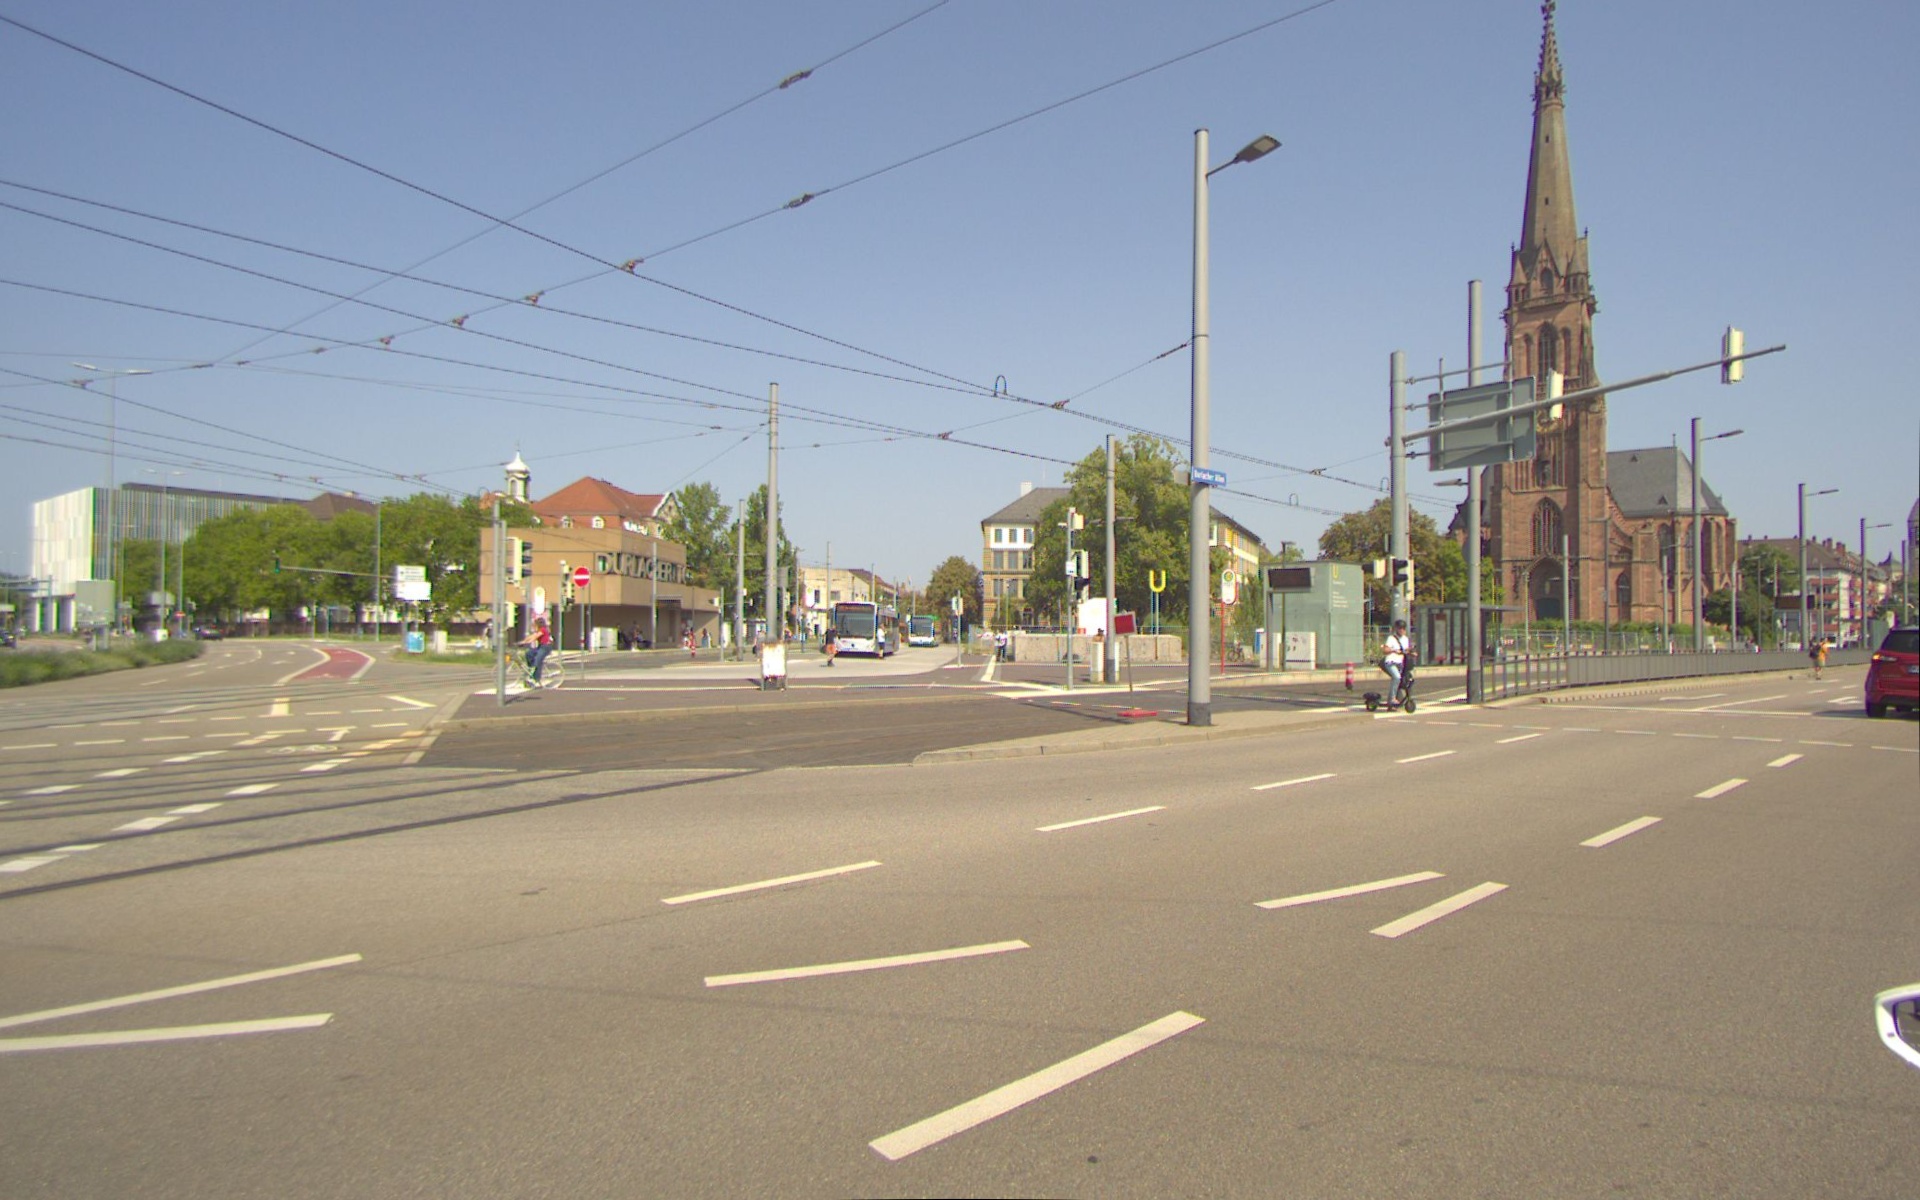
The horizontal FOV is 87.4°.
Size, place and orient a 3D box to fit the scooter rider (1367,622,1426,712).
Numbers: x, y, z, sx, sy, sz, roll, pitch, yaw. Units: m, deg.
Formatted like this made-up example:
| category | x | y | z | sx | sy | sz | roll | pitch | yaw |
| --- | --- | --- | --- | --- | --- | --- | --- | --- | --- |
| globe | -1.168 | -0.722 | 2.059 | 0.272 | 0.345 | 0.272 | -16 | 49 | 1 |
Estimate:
| category | x | y | z | sx | sy | sz | roll | pitch | yaw |
| --- | --- | --- | --- | --- | --- | --- | --- | --- | --- |
| scooter rider | 8.453 | 1.300 | 19.462 | 0.774 | 1.695 | 0.764 | 2 | -4 | -45 |

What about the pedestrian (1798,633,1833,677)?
| category | x | y | z | sx | sy | sz | roll | pitch | yaw |
| --- | --- | --- | --- | --- | --- | --- | --- | --- | --- |
| pedestrian | 34.973 | 2.246 | 41.054 | 1.056 | 1.774 | 0.758 | 2 | -2 | -29 |

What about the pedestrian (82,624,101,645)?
| category | x | y | z | sx | sy | sz | roll | pitch | yaw |
| --- | --- | --- | --- | --- | --- | --- | --- | --- | --- |
| pedestrian | -73.443 | 2.902 | 84.958 | 0.956 | 1.808 | 1.110 | 1 | -2 | -26 |

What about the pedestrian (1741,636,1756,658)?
| category | x | y | z | sx | sy | sz | roll | pitch | yaw |
| --- | --- | --- | --- | --- | --- | --- | --- | --- | --- |
| pedestrian | 63.276 | 3.745 | 80.564 | 0.715 | 1.774 | 0.822 | 3 | -3 | -40 |

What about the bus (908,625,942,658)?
| category | x | y | z | sx | sy | sz | roll | pitch | yaw |
| --- | --- | --- | --- | --- | --- | --- | --- | --- | --- |
| bus | -3.578 | 4.283 | 105.905 | 2.491 | 3.072 | 12.440 | -1 | -1 | 3 |

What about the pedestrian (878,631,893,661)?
| category | x | y | z | sx | sy | sz | roll | pitch | yaw |
| --- | --- | --- | --- | --- | --- | --- | --- | --- | --- |
| pedestrian | -4.009 | 2.478 | 54.123 | 0.589 | 1.548 | 0.576 | 0 | -3 | 30 |

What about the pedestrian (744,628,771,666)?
| category | x | y | z | sx | sy | sz | roll | pitch | yaw |
| --- | --- | --- | --- | --- | --- | --- | --- | --- | --- |
| pedestrian | -9.748 | 2.255 | 48.353 | 0.951 | 1.803 | 0.777 | 3 | -3 | -39 |

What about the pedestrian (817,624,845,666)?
| category | x | y | z | sx | sy | sz | roll | pitch | yaw |
| --- | --- | --- | --- | --- | --- | --- | --- | --- | --- |
| pedestrian | -5.624 | 1.955 | 43.769 | 0.951 | 1.803 | 0.777 | 3 | -3 | -39 |

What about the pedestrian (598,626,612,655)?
| category | x | y | z | sx | sy | sz | roll | pitch | yaw |
| --- | --- | --- | --- | --- | --- | --- | --- | --- | --- |
| pedestrian | -21.170 | 2.396 | 59.924 | 0.566 | 1.698 | 0.587 | -1 | 0 | 5 |

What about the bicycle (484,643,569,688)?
| category | x | y | z | sx | sy | sz | roll | pitch | yaw |
| --- | --- | --- | --- | --- | --- | --- | --- | --- | --- |
| bicycle | -11.013 | 1.649 | 25.578 | 1.896 | 1.083 | 0.608 | 2 | -2 | -38 |

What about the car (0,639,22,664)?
| category | x | y | z | sx | sy | sz | roll | pitch | yaw |
| --- | --- | --- | --- | --- | --- | --- | --- | --- | --- |
| car | -73.348 | 3.936 | 76.131 | 1.971 | 1.817 | 3.980 | -1 | -1 | -22 |

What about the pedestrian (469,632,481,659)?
| category | x | y | z | sx | sy | sz | roll | pitch | yaw |
| --- | --- | --- | --- | --- | --- | --- | --- | --- | --- |
| pedestrian | -25.157 | 2.363 | 52.081 | 0.344 | 1.393 | 0.460 | -1 | -2 | 36 |

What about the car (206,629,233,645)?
| category | x | y | z | sx | sy | sz | roll | pitch | yaw |
| --- | --- | --- | --- | --- | --- | --- | --- | --- | --- |
| car | -78.376 | 3.889 | 106.350 | 1.881 | 1.674 | 4.619 | 1 | -2 | -31 |

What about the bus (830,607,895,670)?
| category | x | y | z | sx | sy | sz | roll | pitch | yaw |
| --- | --- | --- | --- | --- | --- | --- | --- | --- | --- |
| bus | -5.707 | 2.309 | 60.674 | 2.624 | 3.374 | 12.761 | 0 | -2 | 0 |

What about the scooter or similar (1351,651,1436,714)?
| category | x | y | z | sx | sy | sz | roll | pitch | yaw |
| --- | --- | --- | --- | --- | --- | --- | --- | --- | --- |
| scooter or similar | 8.406 | 1.589 | 19.501 | 0.704 | 1.163 | 1.325 | 2 | -4 | -43 |

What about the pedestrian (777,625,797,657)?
| category | x | y | z | sx | sy | sz | roll | pitch | yaw |
| --- | --- | --- | --- | --- | --- | --- | --- | --- | --- |
| pedestrian | -10.098 | 2.389 | 58.721 | 0.778 | 1.803 | 0.950 | 3 | -3 | -35 |

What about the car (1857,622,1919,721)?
| category | x | y | z | sx | sy | sz | roll | pitch | yaw |
| --- | --- | --- | --- | --- | --- | --- | --- | --- | --- |
| car | 17.453 | 1.226 | 17.803 | 4.049 | 1.639 | 1.748 | 2 | -2 | -40 |

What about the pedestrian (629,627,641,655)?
| category | x | y | z | sx | sy | sz | roll | pitch | yaw |
| --- | --- | --- | --- | --- | --- | --- | --- | --- | --- |
| pedestrian | -19.704 | 2.496 | 60.906 | 0.566 | 1.667 | 0.506 | -1 | 0 | -39 |

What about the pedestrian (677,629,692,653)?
| category | x | y | z | sx | sy | sz | roll | pitch | yaw |
| --- | --- | --- | --- | --- | --- | --- | --- | --- | --- |
| pedestrian | -20.221 | 3.024 | 73.747 | 0.779 | 1.701 | 0.856 | -1 | 0 | 5 |

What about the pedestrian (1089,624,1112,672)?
| category | x | y | z | sx | sy | sz | roll | pitch | yaw |
| --- | --- | --- | --- | --- | --- | --- | --- | --- | --- |
| pedestrian | 5.065 | 1.718 | 36.221 | 0.564 | 1.681 | 0.799 | -1 | 0 | 30 |

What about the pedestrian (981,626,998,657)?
| category | x | y | z | sx | sy | sz | roll | pitch | yaw |
| --- | --- | --- | --- | --- | --- | --- | --- | --- | --- |
| pedestrian | 1.520 | 2.127 | 51.943 | 0.769 | 1.569 | 0.679 | 1 | -2 | -2 |

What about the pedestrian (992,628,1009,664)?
| category | x | y | z | sx | sy | sz | roll | pitch | yaw |
| --- | --- | --- | --- | --- | --- | --- | --- | --- | --- |
| pedestrian | 2.015 | 2.281 | 50.020 | 0.769 | 1.751 | 0.679 | 0 | -2 | -2 |

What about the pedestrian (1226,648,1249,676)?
| category | x | y | z | sx | sy | sz | roll | pitch | yaw |
| --- | --- | --- | --- | --- | --- | --- | --- | --- | --- |
| pedestrian | 15.156 | 3.386 | 54.892 | 0.603 | 1.505 | 1.697 | 0 | -2 | -6 |

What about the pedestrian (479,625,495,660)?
| category | x | y | z | sx | sy | sz | roll | pitch | yaw |
| --- | --- | --- | --- | --- | --- | --- | --- | --- | --- |
| pedestrian | -24.749 | 2.231 | 52.520 | 0.551 | 1.840 | 0.559 | -1 | -2 | 36 |

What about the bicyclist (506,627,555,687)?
| category | x | y | z | sx | sy | sz | roll | pitch | yaw |
| --- | --- | --- | --- | --- | --- | --- | --- | --- | --- |
| bicyclist | -10.977 | 1.436 | 25.660 | 0.971 | 1.478 | 0.868 | 1 | -2 | -38 |

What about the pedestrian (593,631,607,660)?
| category | x | y | z | sx | sy | sz | roll | pitch | yaw |
| --- | --- | --- | --- | --- | --- | --- | --- | --- | --- |
| pedestrian | -21.186 | 2.656 | 59.094 | 0.566 | 1.698 | 0.587 | -1 | 0 | 5 |
